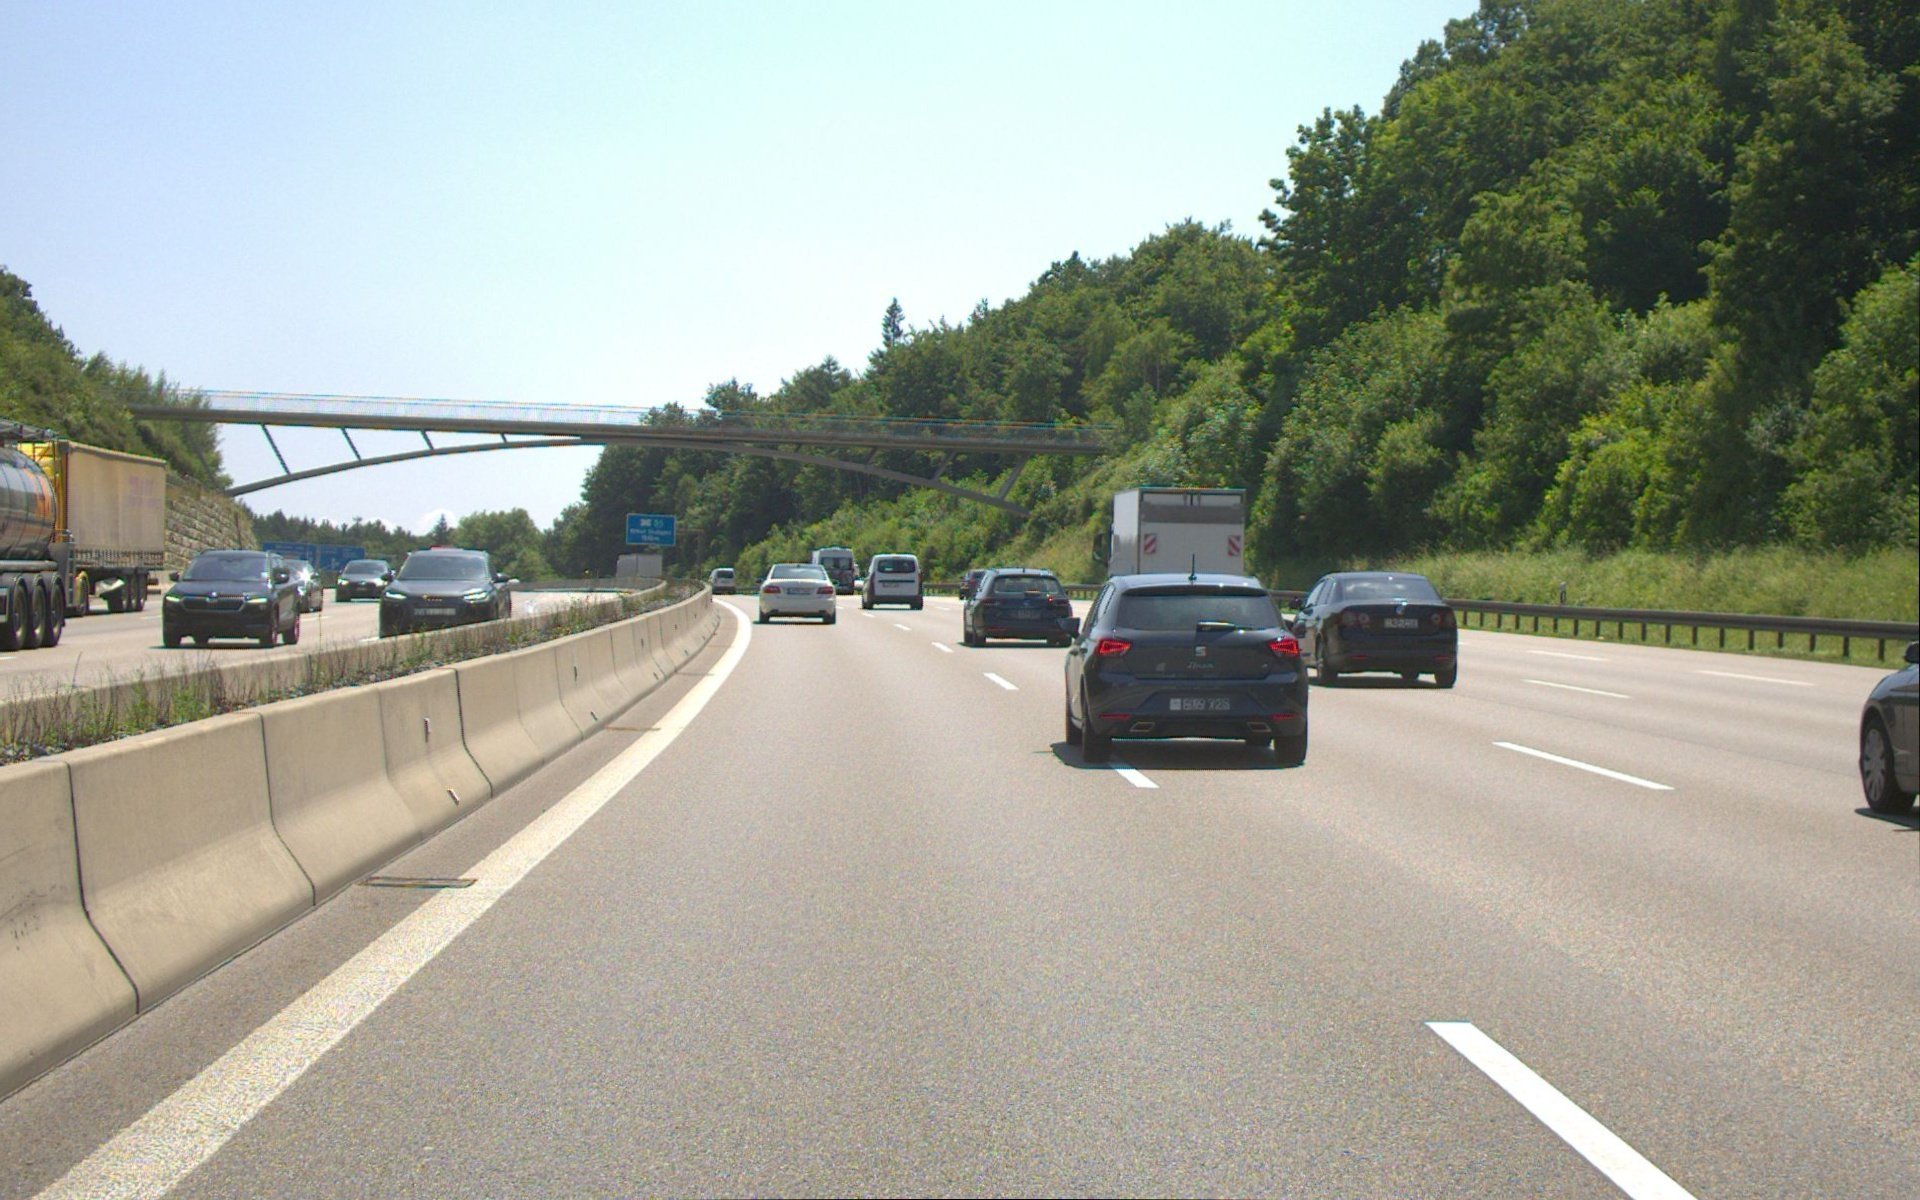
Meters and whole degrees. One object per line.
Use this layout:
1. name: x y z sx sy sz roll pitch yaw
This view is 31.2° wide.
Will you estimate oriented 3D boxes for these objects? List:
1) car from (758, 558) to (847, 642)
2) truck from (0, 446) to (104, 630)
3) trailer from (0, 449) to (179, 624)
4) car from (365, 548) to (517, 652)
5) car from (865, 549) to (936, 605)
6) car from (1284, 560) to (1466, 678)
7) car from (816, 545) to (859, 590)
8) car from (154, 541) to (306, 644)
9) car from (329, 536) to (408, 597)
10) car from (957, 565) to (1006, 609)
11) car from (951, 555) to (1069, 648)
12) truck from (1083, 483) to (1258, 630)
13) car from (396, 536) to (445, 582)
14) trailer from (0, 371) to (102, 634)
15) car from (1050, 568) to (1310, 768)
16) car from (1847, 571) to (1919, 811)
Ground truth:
1. car: -3.817 0.024 83.768 2.012 1.839 3.999 1 -3 -1
2. truck: -21.657 -1.415 78.624 2.750 4.004 6.753 1 1 -3
3. trailer: -22.024 -1.548 85.503 2.722 3.991 13.727 1 1 -3
4. car: -8.858 -0.029 59.090 1.993 1.699 4.953 1 1 -2
5. car: -1.982 -0.771 112.725 2.103 1.738 4.688 1 1 -3
6. car: 5.299 0.209 44.452 1.665 1.404 4.903 1 1 -1
7. car: -6.678 -1.744 186.436 2.265 2.363 4.702 1 0 -2
8. car: -12.229 -0.147 57.792 1.720 1.638 4.060 1 1 -1
9. car: -19.748 -1.098 114.932 1.993 1.865 5.252 2 -1 -3
10. car: 0.977 -0.614 158.780 2.145 1.851 4.000 2 1 -1
11. car: 0.886 0.000 63.910 1.993 1.628 4.760 1 1 -1
12. truck: 4.709 -1.001 78.595 2.985 3.156 7.575 1 1 -4
13. car: -28.392 -2.163 180.987 1.993 2.328 5.544 1 1 -3
14. trailer: -15.395 -1.453 51.218 2.538 3.867 11.696 1 1 -1
15. car: 1.668 0.489 27.248 1.708 1.428 4.000 1 0 -1
16. car: 6.432 0.546 19.498 1.702 1.391 4.154 1 0 0
